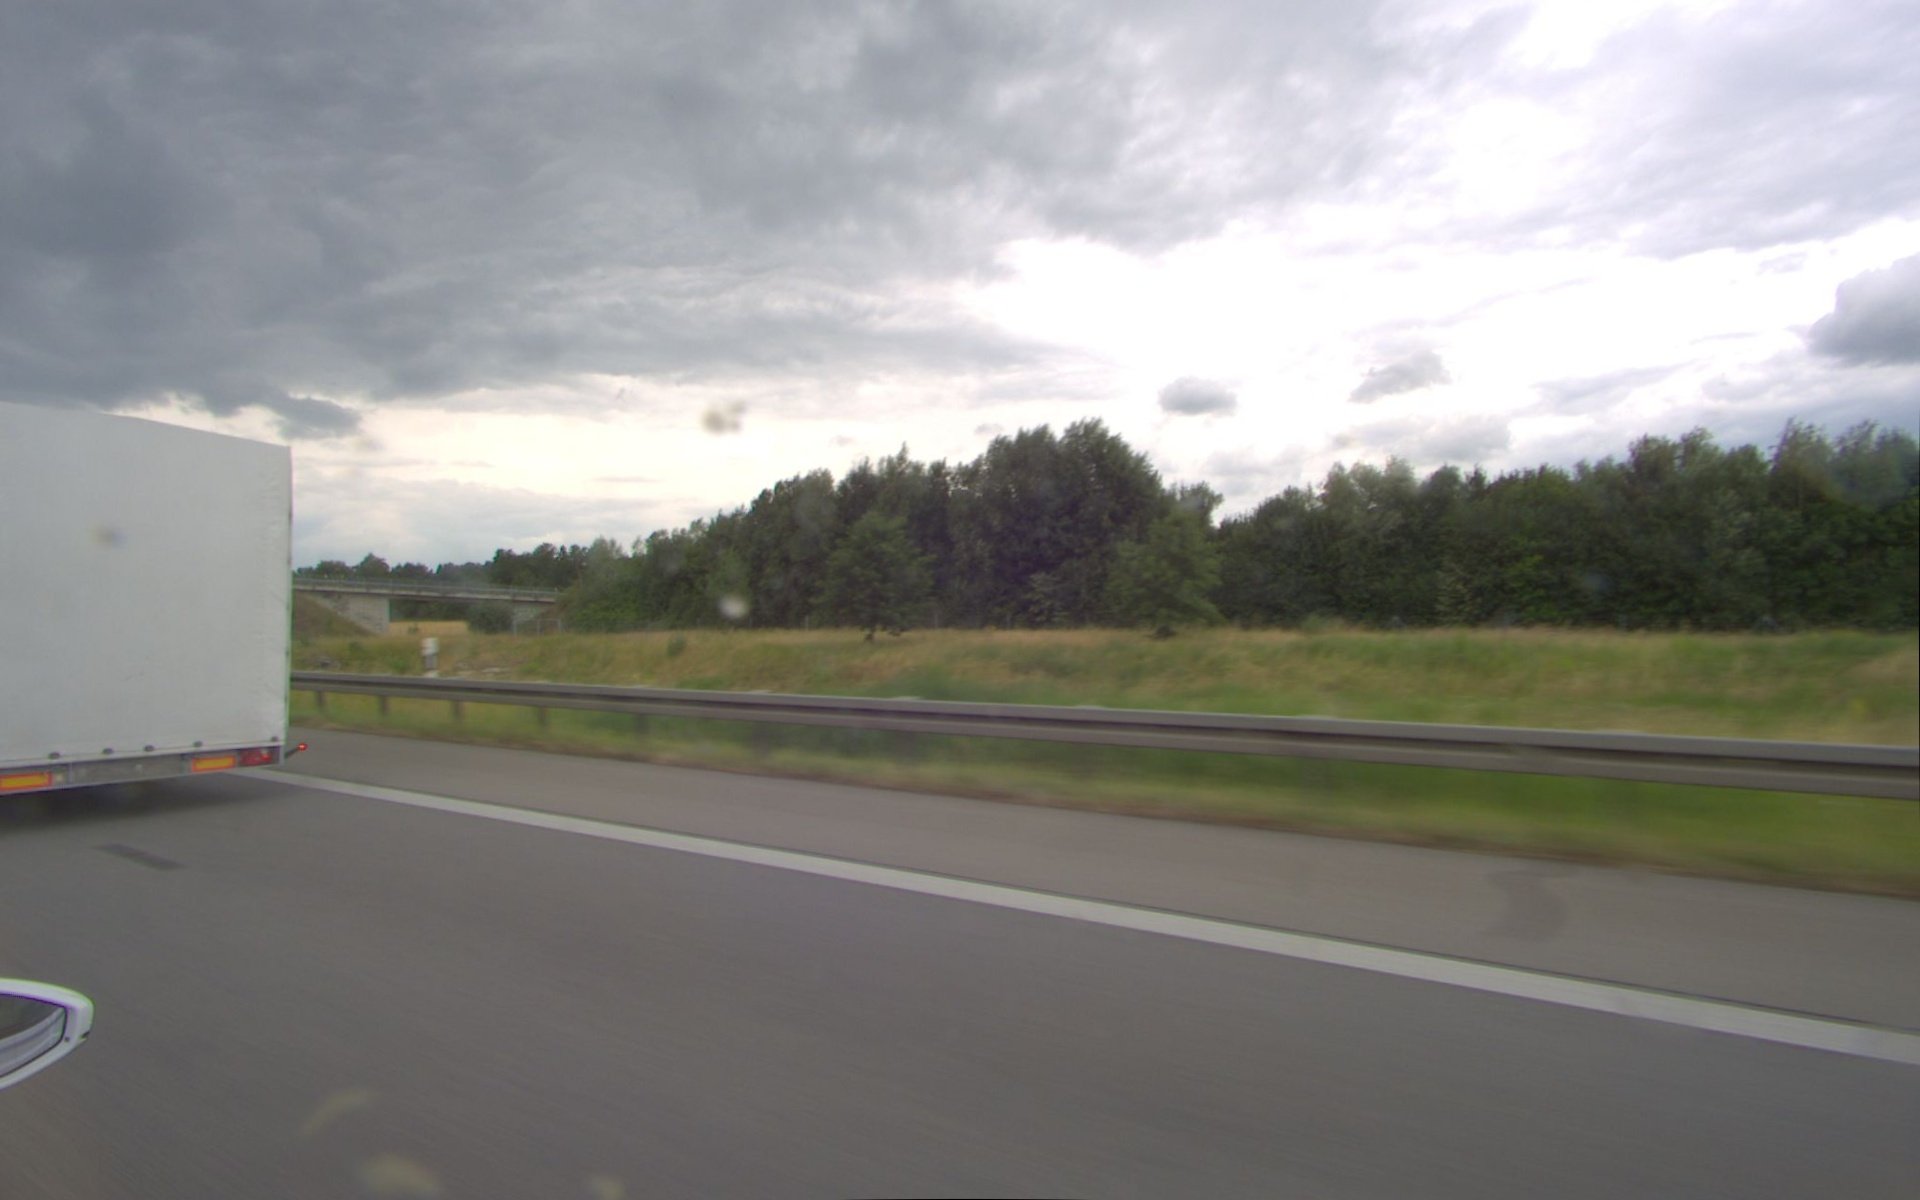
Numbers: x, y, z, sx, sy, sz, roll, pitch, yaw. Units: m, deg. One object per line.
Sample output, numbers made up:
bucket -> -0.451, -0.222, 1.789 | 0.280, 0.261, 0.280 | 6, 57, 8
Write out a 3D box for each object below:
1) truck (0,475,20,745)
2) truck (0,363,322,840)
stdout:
truck -> -15.250, 0.144, 13.141 | 7.141, 3.286, 2.426 | -1, -1, 31
truck -> -9.144, 0.064, 9.444 | 7.038, 3.264, 2.411 | -1, -1, 31
